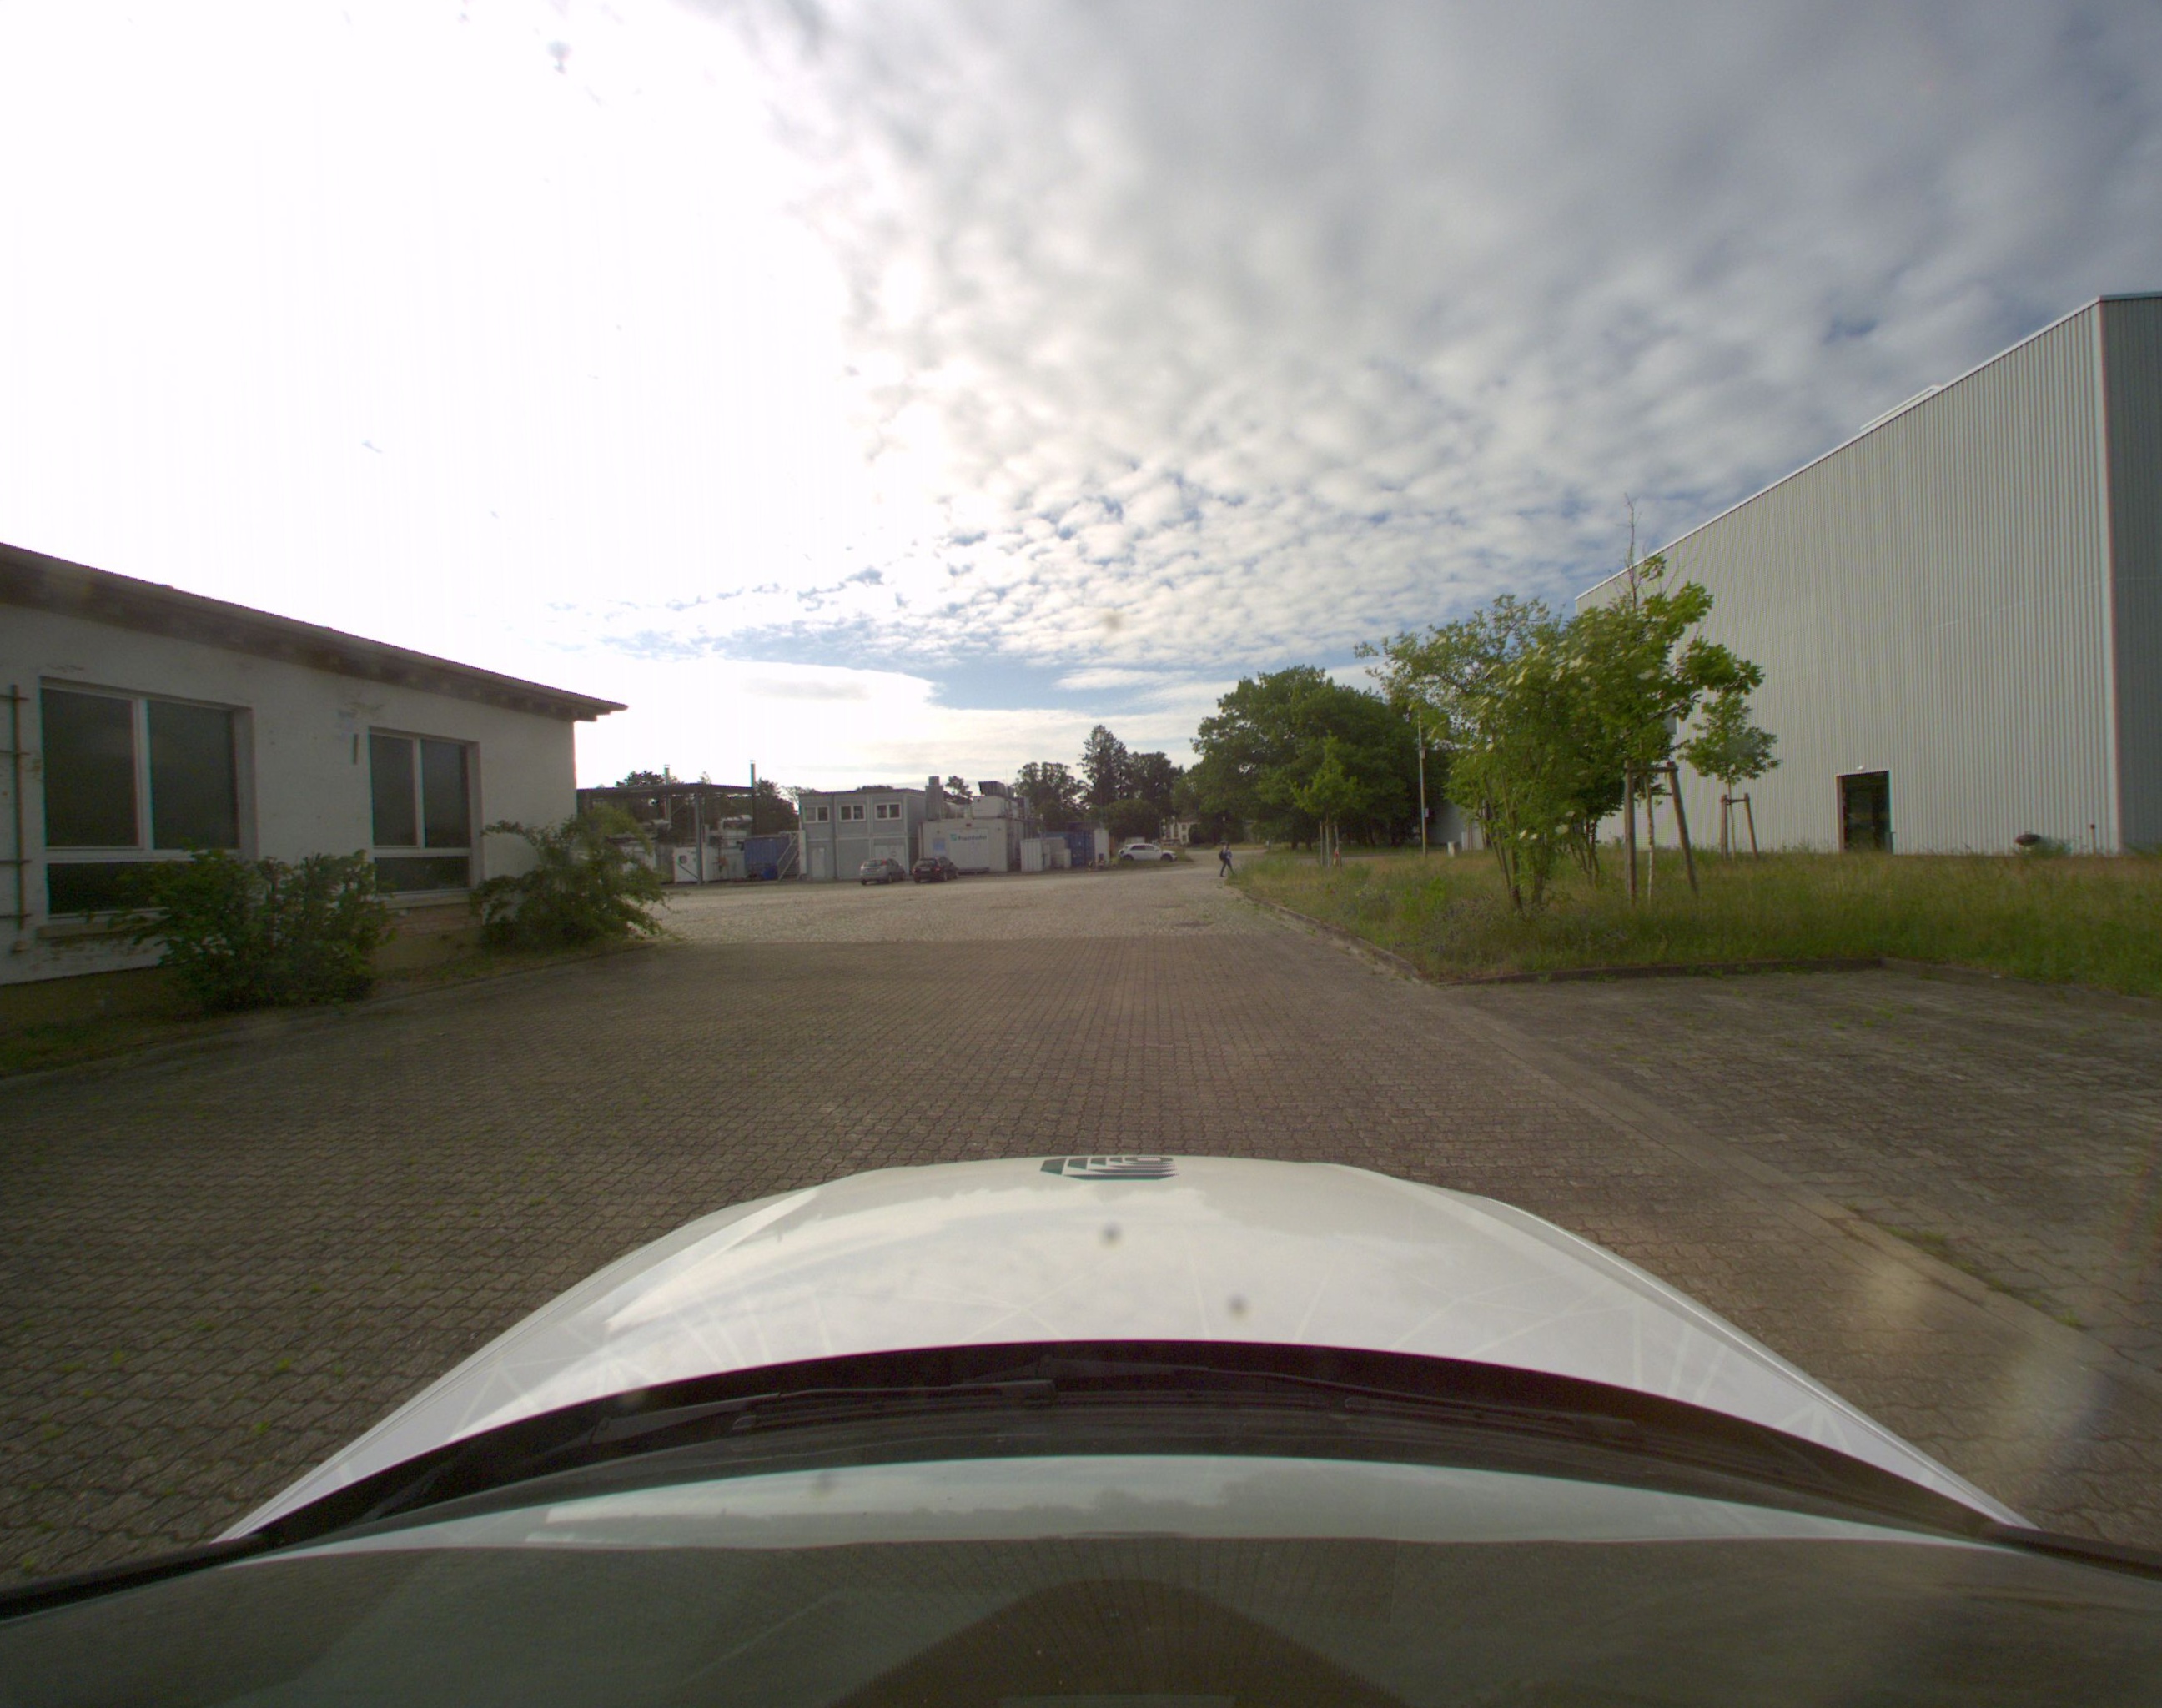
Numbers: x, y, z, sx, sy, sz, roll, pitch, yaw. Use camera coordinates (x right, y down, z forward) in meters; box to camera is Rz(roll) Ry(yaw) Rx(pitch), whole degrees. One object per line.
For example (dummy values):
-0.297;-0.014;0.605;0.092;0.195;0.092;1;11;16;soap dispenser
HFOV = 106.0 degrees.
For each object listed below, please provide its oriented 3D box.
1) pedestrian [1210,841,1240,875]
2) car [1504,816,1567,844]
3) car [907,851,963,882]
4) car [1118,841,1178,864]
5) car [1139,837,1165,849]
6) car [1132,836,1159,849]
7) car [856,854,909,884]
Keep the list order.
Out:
6.948;0.191;39.262;1.065;1.556;1.082;-2;0;29;pedestrian
35.710;-1.836;64.130;2.231;2.013;5.343;-2;0;4;car
-8.436;0.700;47.438;2.027;1.453;4.537;-2;2;5;car
5.268;-0.111;63.705;4.509;1.599;2.004;-2;0;7;car
14.354;-2.245;165.028;5.146;2.337;2.003;-2;0;4;car
12.330;-2.153;155.582;5.146;2.337;2.003;-2;0;4;car
-11.659;0.832;48.079;1.898;1.475;4.051;-2;2;3;car
